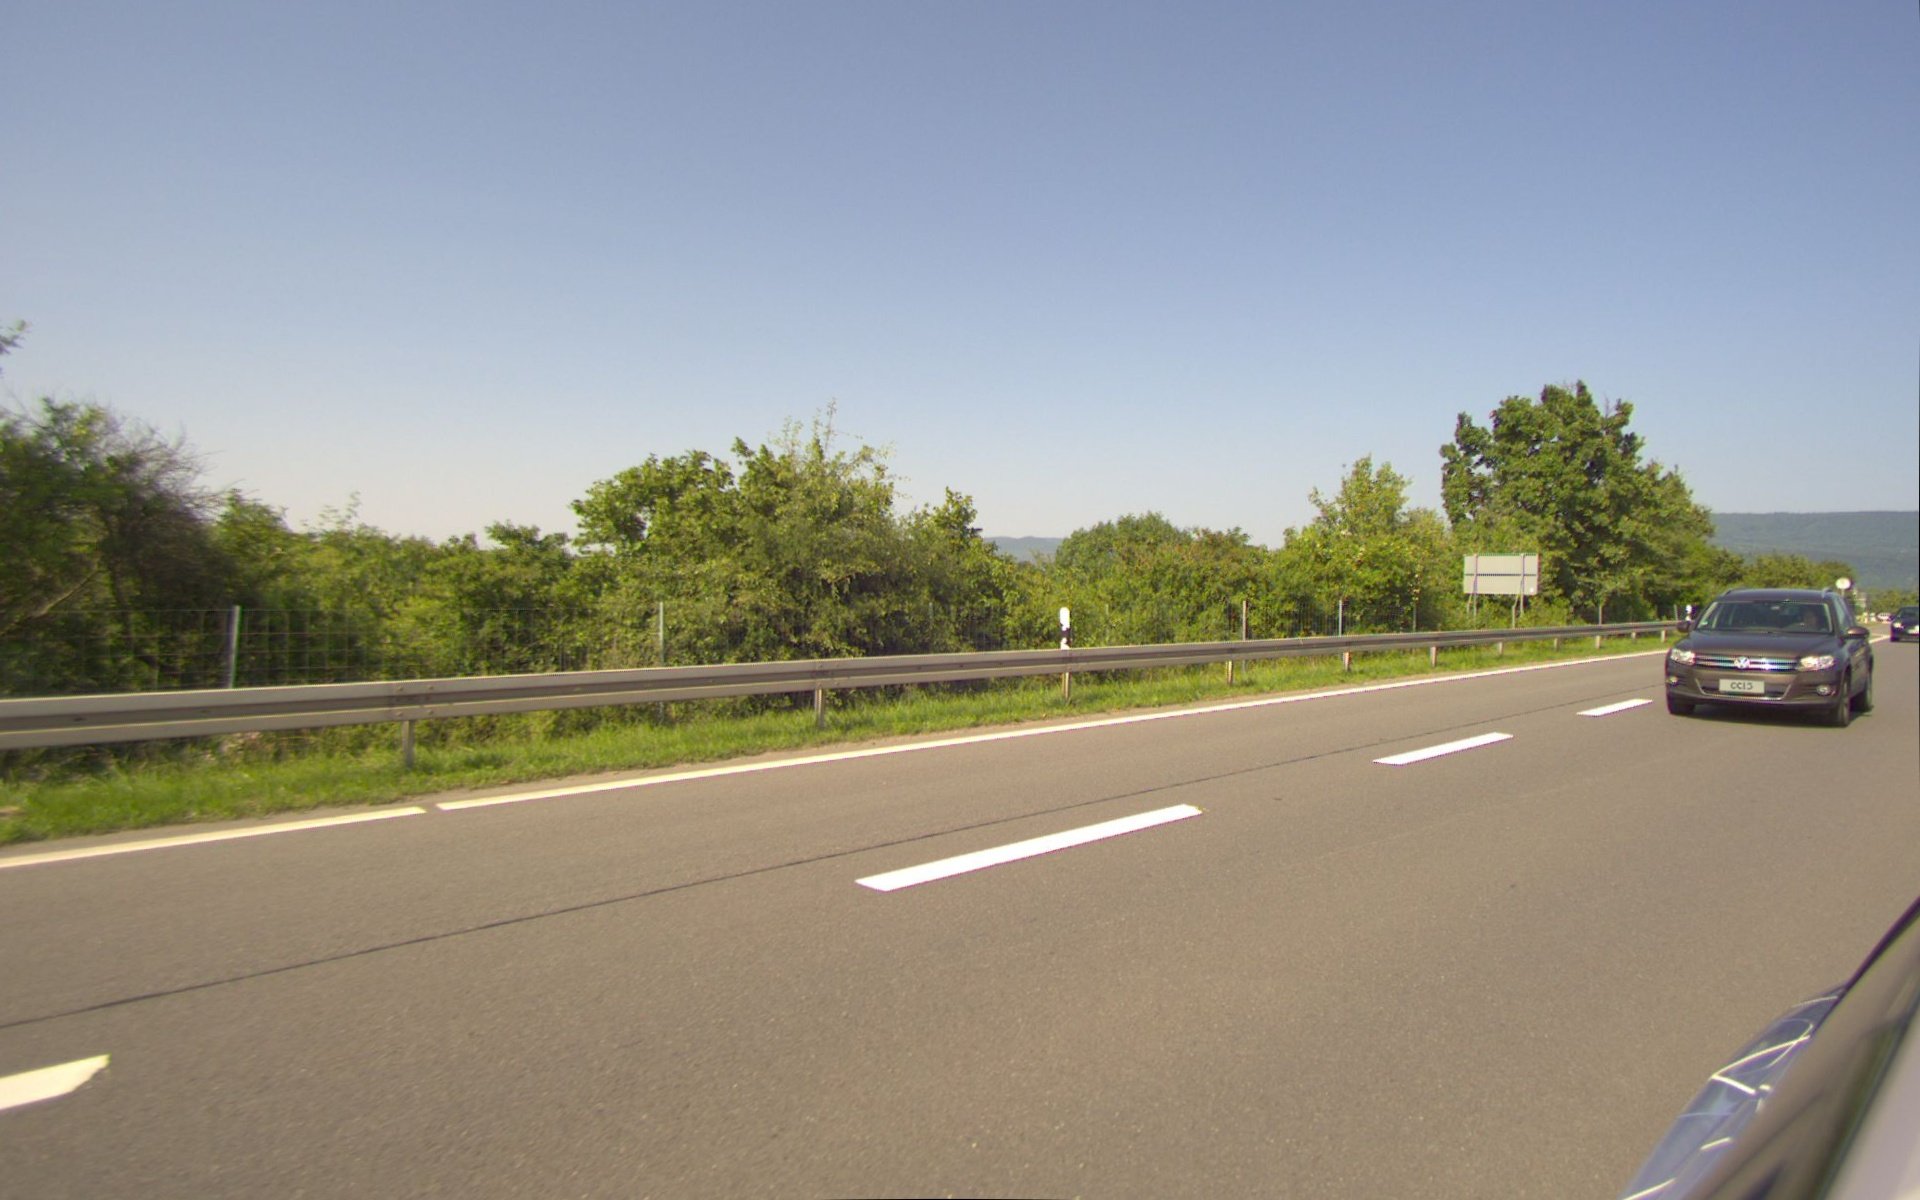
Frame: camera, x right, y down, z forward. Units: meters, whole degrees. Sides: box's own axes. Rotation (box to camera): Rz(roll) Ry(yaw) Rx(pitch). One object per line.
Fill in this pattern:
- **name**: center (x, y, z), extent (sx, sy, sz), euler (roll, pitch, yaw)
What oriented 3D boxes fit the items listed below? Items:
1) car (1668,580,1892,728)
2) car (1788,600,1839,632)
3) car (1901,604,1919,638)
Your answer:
- **car**: center (11.034, 0.600, 13.522), extent (4.078, 1.667, 1.787), euler (0, 0, -43)
- **car**: center (47.575, 0.876, 56.469), extent (1.854, 1.687, 3.947), euler (0, 0, 36)
- **car**: center (38.112, 0.815, 39.661), extent (3.934, 1.264, 1.597), euler (0, 0, -44)
